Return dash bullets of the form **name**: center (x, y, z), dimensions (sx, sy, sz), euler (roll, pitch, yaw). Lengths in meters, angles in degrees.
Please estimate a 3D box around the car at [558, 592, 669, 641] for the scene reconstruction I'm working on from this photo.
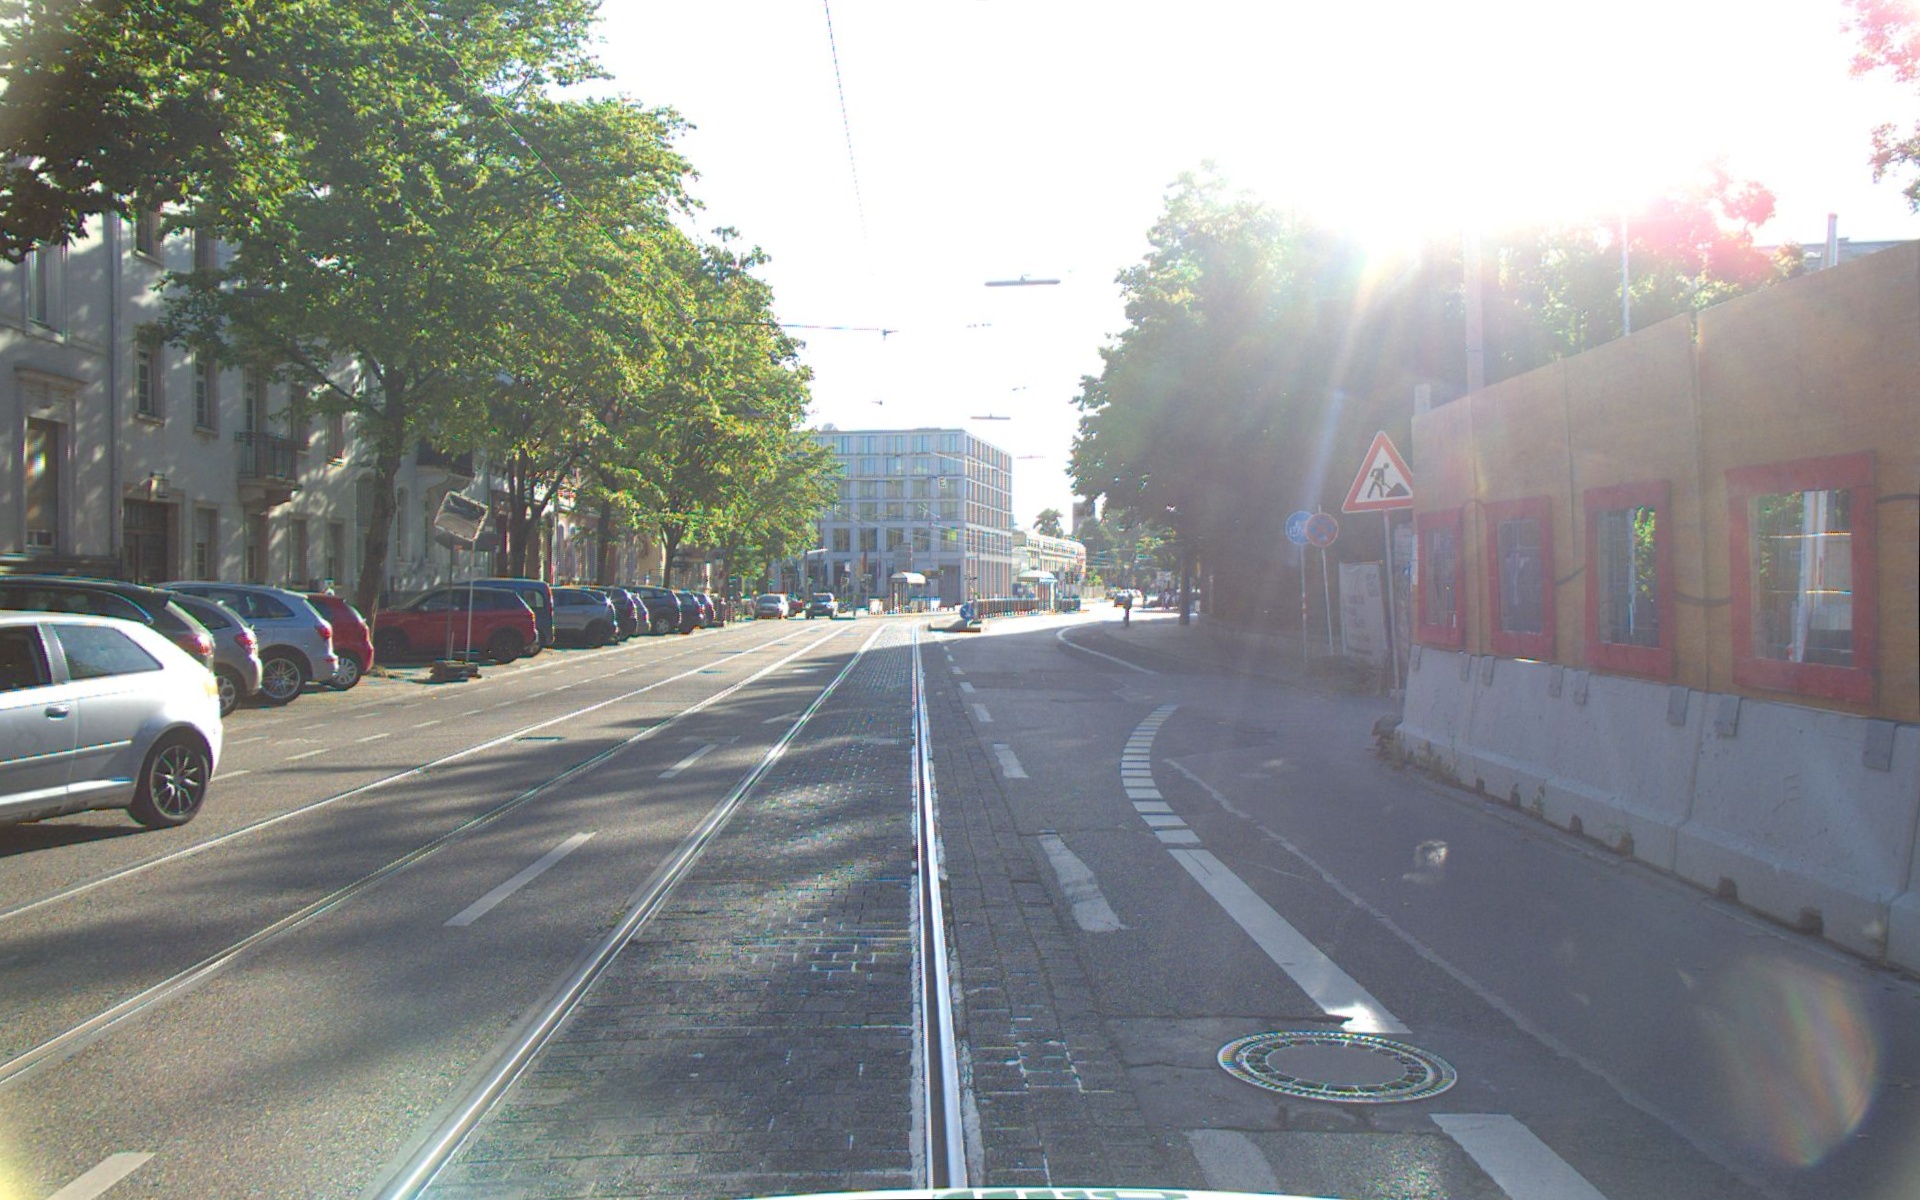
- **car**: center (-10.894, 0.504, 51.997), dimensions (3.228, 1.510, 1.459), euler (0, 0, -24)

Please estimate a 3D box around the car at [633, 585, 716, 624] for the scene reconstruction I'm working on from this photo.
- **car**: center (-12.050, 0.169, 69.821), dimensions (3.228, 1.613, 1.459), euler (0, 0, -24)

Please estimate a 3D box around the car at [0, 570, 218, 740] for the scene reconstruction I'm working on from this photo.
- **car**: center (-10.141, 0.568, 17.861), dimensions (3.646, 1.751, 1.590), euler (0, 0, -37)

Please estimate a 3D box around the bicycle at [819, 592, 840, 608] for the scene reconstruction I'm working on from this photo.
- **bicycle**: center (-10.774, 0.002, 136.516), dimensions (1.761, 1.245, 0.598), euler (0, 0, -10)

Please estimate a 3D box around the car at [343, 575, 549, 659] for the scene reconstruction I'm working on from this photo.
- **car**: center (-11.251, 0.359, 36.275), dimensions (4.114, 1.751, 1.568), euler (0, 0, -29)

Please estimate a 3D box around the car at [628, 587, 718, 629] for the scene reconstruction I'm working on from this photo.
- **car**: center (-11.207, 0.314, 64.582), dimensions (3.228, 1.613, 1.459), euler (0, 0, -24)

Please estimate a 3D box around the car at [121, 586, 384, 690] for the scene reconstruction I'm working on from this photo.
- **car**: center (-11.258, 0.560, 26.403), dimensions (3.646, 1.554, 1.464), euler (0, 0, -37)

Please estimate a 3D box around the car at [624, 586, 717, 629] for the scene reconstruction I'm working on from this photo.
- **car**: center (-10.950, 0.281, 62.548), dimensions (3.228, 1.613, 1.459), euler (0, 0, -24)

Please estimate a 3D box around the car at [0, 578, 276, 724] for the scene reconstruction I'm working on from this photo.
- **car**: center (-10.568, 0.585, 20.605), dimensions (3.525, 1.691, 1.717), euler (0, 0, -35)

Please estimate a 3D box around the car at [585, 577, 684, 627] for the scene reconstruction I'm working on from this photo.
- **car**: center (-11.614, 0.063, 59.034), dimensions (3.228, 1.728, 1.459), euler (0, 0, -24)

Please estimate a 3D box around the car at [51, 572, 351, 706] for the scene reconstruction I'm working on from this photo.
- **car**: center (-10.749, 0.499, 23.521), dimensions (3.646, 1.751, 1.590), euler (0, 0, -37)

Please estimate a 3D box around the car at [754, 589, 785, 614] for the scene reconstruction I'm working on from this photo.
- **car**: center (-11.818, 0.061, 102.641), dimensions (1.541, 1.516, 3.999), euler (0, 0, -1)

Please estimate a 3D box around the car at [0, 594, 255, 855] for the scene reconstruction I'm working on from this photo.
- **car**: center (-6.194, 0.708, 9.616), dimensions (1.673, 1.461, 4.174), euler (0, 0, 14)

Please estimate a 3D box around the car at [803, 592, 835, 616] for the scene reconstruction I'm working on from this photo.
- **car**: center (-9.066, 0.249, 106.316), dimensions (1.526, 1.557, 4.001), euler (0, 0, 3)

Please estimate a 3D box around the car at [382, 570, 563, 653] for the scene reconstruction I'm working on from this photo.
- **car**: center (-11.579, 0.293, 39.333), dimensions (3.790, 1.864, 1.713), euler (2, -1, -32)

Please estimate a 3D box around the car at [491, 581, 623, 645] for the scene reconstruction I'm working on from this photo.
- **car**: center (-11.208, 0.349, 46.043), dimensions (3.337, 1.727, 1.391), euler (0, 0, -30)

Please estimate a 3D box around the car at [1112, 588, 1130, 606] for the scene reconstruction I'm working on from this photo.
- **car**: center (18.688, -0.410, 191.771), dimensions (1.951, 2.049, 4.003), euler (0, 0, 8)

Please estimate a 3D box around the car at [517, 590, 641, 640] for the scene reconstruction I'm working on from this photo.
- **car**: center (-11.275, 0.445, 48.981), dimensions (3.337, 1.444, 1.391), euler (0, 0, -30)

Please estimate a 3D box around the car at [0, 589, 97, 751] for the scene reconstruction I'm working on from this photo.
- **car**: center (-10.144, 0.604, 15.047), dimensions (3.869, 1.478, 1.618), euler (2, -1, -36)
